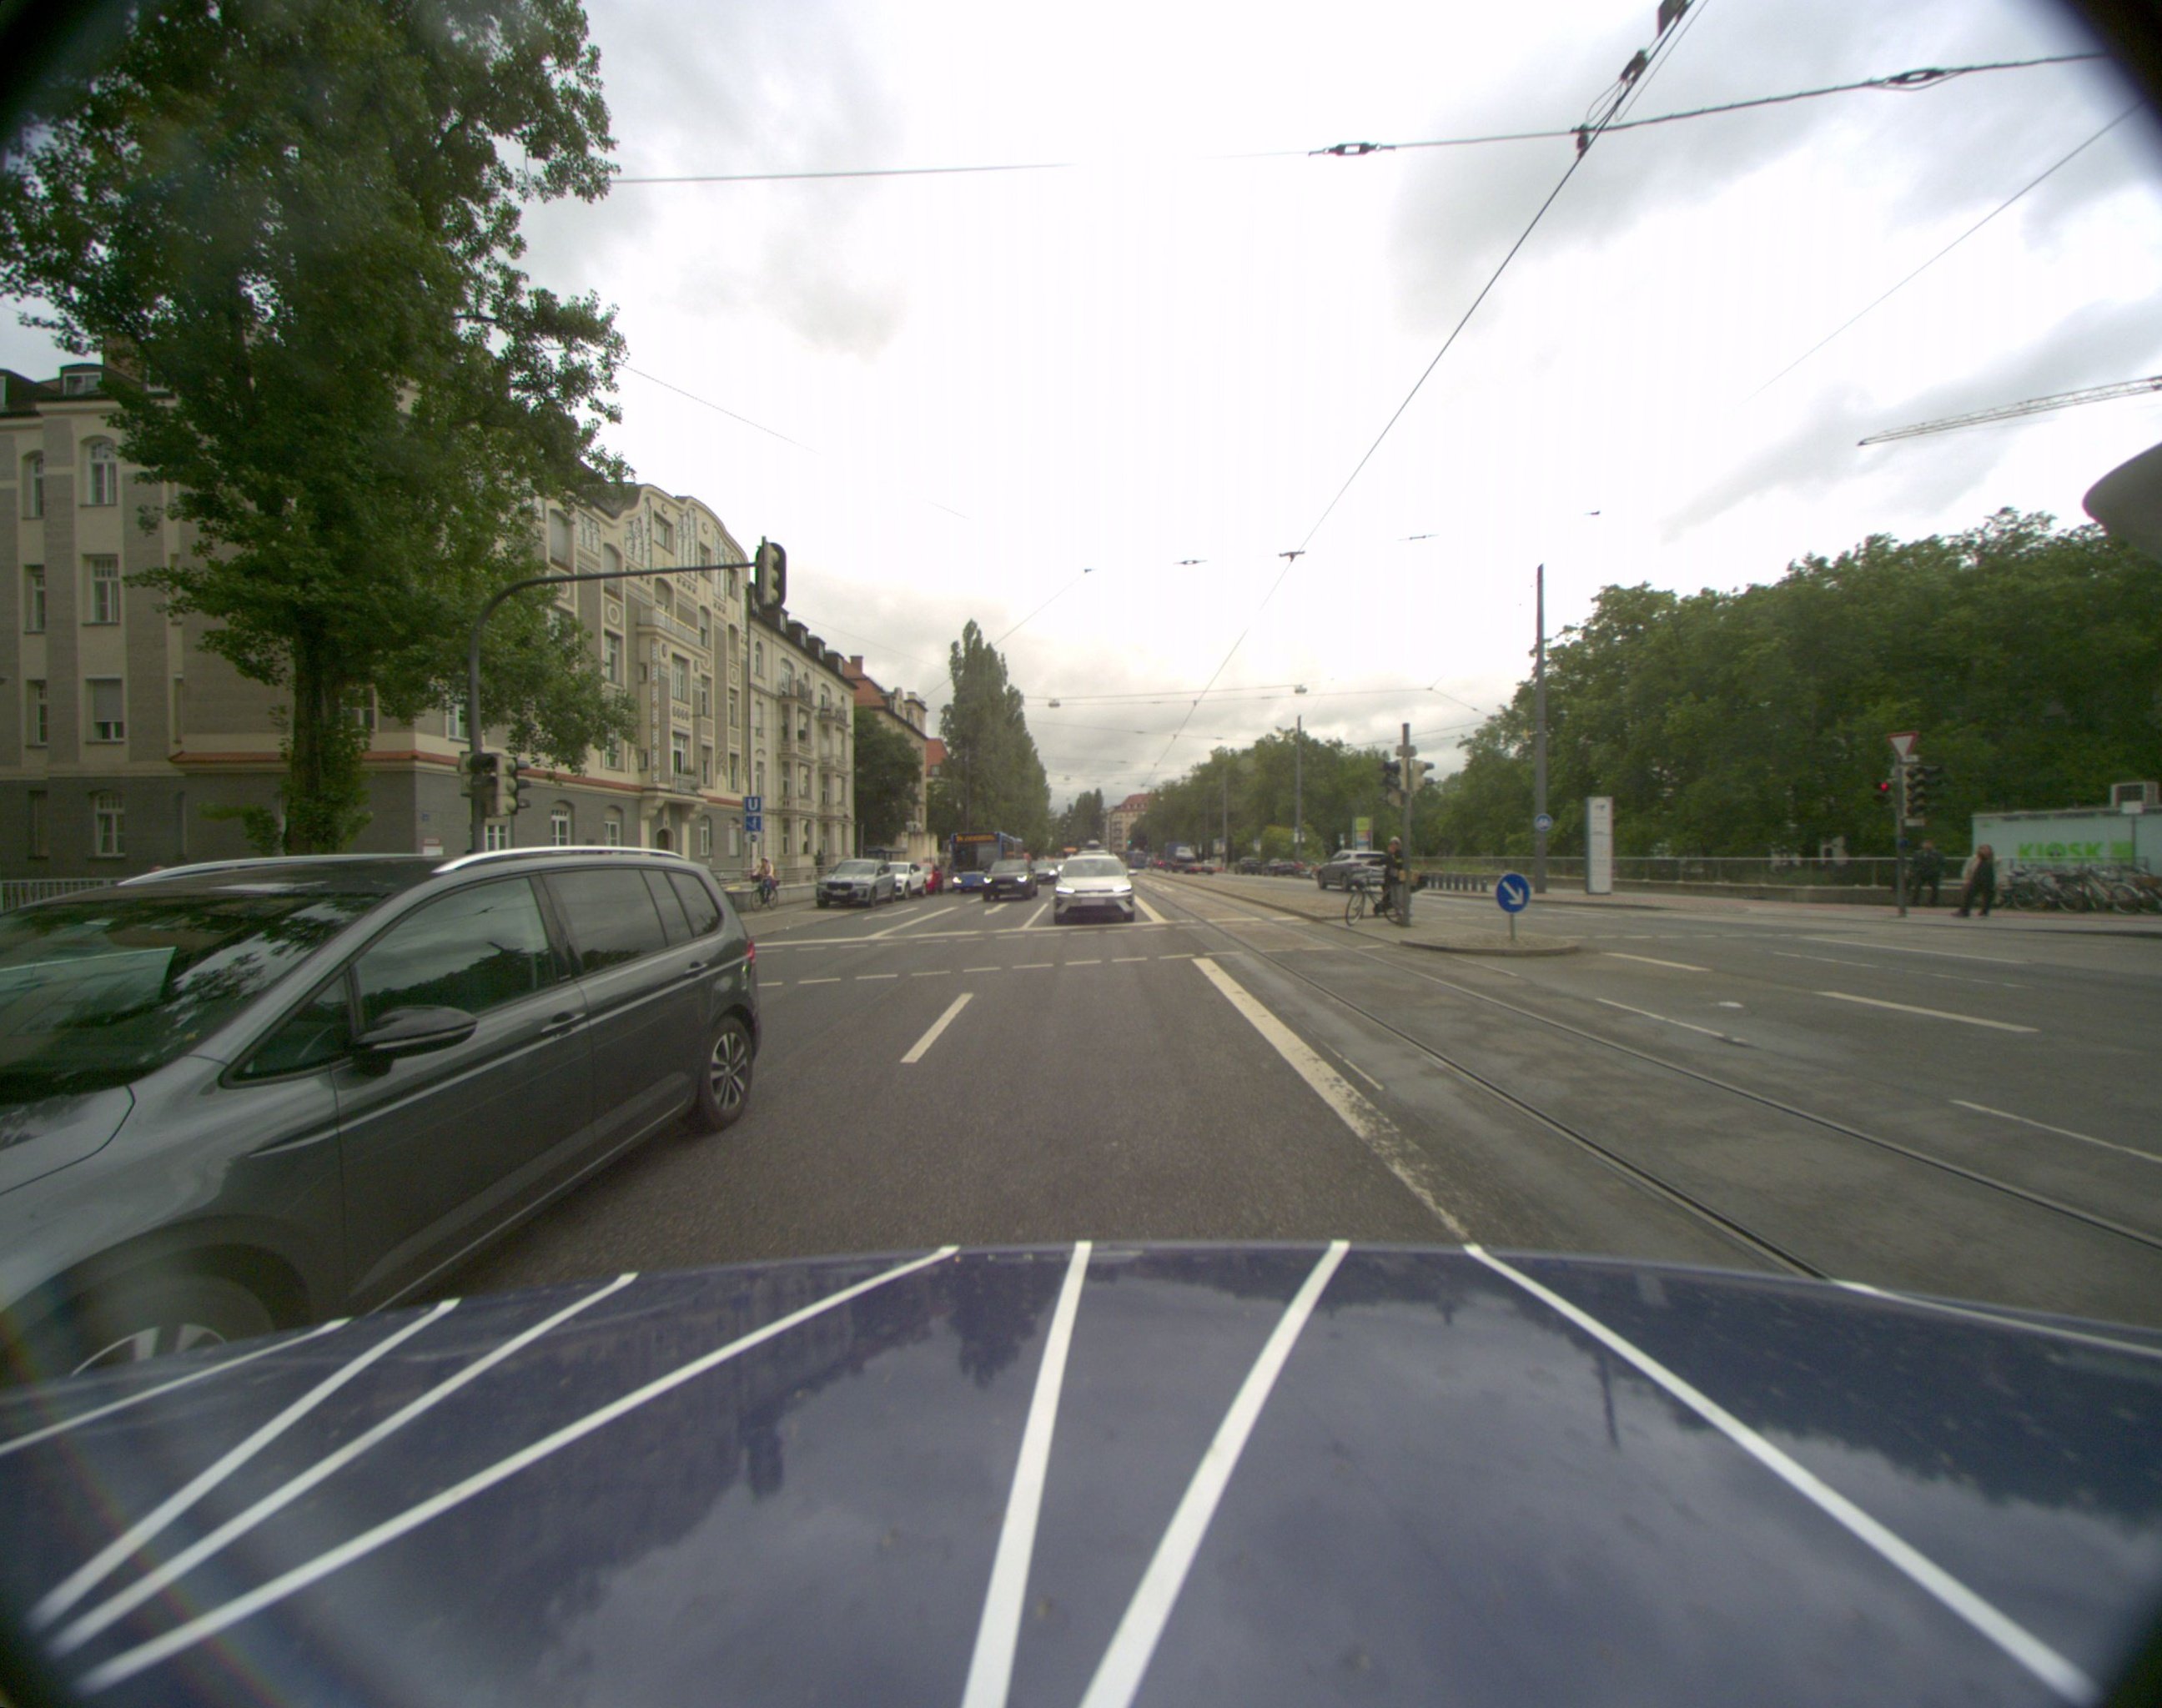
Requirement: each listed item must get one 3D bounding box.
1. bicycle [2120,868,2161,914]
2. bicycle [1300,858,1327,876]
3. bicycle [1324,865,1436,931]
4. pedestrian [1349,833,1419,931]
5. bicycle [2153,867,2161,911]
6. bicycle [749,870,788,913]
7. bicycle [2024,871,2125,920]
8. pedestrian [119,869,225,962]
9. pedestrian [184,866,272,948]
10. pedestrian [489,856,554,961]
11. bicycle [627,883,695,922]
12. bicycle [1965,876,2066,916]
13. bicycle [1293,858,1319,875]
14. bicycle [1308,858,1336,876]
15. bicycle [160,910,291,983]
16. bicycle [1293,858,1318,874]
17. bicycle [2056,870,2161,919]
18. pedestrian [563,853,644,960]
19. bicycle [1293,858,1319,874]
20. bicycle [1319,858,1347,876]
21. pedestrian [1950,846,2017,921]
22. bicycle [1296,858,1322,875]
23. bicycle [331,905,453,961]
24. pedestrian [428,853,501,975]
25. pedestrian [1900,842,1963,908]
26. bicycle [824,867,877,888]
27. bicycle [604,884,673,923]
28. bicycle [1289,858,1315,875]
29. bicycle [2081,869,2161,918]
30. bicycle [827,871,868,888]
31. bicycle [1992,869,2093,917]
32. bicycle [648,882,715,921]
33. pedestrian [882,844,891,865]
[{"bbox_3d":[26.501,0.910,18.416,0.479,1.090,1.851,0,0,15],"label":"bicycle"},{"bbox_3d":[15.855,0.879,51.777,1.693,1.165,0.505,-1,1,-9],"label":"bicycle"},{"bbox_3d":[5.848,0.840,14.828,2.233,1.144,0.505,-2,2,-20],"label":"bicycle"},{"bbox_3d":[5.850,0.511,14.692,0.862,1.801,0.895,-2,2,-28],"label":"pedestrian"},{"bbox_3d":[27.053,0.885,18.221,0.479,1.090,1.851,0,0,15],"label":"bicycle"},{"bbox_3d":[-10.012,1.184,24.402,0.424,1.281,1.778,-1,1,2],"label":"bicycle"},{"bbox_3d":[24.570,0.996,18.838,0.479,1.090,1.851,0,0,15],"label":"bicycle"},{"bbox_3d":[-17.300,1.147,14.485,0.748,1.675,1.017,0,1,1],"label":"pedestrian"},{"bbox_3d":[-18.703,1.137,16.690,0.748,1.704,1.017,0,1,1],"label":"pedestrian"},{"bbox_3d":[-9.046,0.850,12.283,0.758,1.628,0.699,-1,0,-42],"label":"pedestrian"},{"bbox_3d":[-12.646,1.443,22.937,0.445,1.017,1.842,-1,1,28],"label":"bicycle"},{"bbox_3d":[23.398,1.033,19.078,0.479,0.889,1.850,0,0,9],"label":"bicycle"},{"bbox_3d":[15.783,0.877,53.295,1.693,1.165,0.505,-1,1,-7],"label":"bicycle"},{"bbox_3d":[16.175,0.867,50.952,1.693,1.165,0.561,-1,1,-9],"label":"bicycle"},{"bbox_3d":[-13.156,1.419,11.698,1.575,1.044,0.392,-2,1,2],"label":"bicycle"},{"bbox_3d":[16.283,0.859,55.150,1.692,1.165,0.562,-1,1,-2],"label":"bicycle"},{"bbox_3d":[25.263,0.965,18.721,0.479,1.090,1.851,0,0,15],"label":"bicycle"},{"bbox_3d":[-8.310,0.897,13.241,0.881,1.791,0.757,-1,0,11],"label":"pedestrian"},{"bbox_3d":[16.181,0.854,54.603,1.693,1.165,0.505,-1,1,-3],"label":"bicycle"},{"bbox_3d":[16.517,0.856,49.783,1.693,1.165,0.561,-1,1,-9],"label":"bicycle"},{"bbox_3d":[19.863,0.628,16.729,0.739,1.619,0.741,-1,1,-20],"label":"pedestrian"},{"bbox_3d":[15.808,0.878,52.710,1.693,1.165,0.561,-1,1,-9],"label":"bicycle"},{"bbox_3d":[-12.299,1.409,13.575,1.837,0.911,0.392,-2,1,2],"label":"bicycle"},{"bbox_3d":[-9.372,0.885,11.552,0.699,1.770,0.652,-1,0,34],"label":"pedestrian"},{"bbox_3d":[22.418,0.540,20.054,0.735,1.706,0.861,0,1,11],"label":"pedestrian"},{"bbox_3d":[-13.659,1.380,45.036,2.922,1.141,0.639,-2,1,-17],"label":"bicycle"},{"bbox_3d":[-13.321,1.474,22.937,0.391,1.017,1.842,-1,1,28],"label":"bicycle"},{"bbox_3d":[15.712,0.878,53.993,1.693,1.165,0.505,-1,1,-6],"label":"bicycle"},{"bbox_3d":[25.781,0.942,18.624,0.479,1.090,1.851,0,0,15],"label":"bicycle"},{"bbox_3d":[-14.012,1.506,45.628,2.326,0.916,0.586,-2,1,-16],"label":"bicycle"},{"bbox_3d":[23.939,0.938,18.959,0.479,1.090,1.851,0,0,12],"label":"bicycle"},{"bbox_3d":[-12.014,1.414,22.928,0.445,1.017,1.842,-1,1,28],"label":"bicycle"},{"bbox_3d":[-17.986,0.067,70.294,0.609,1.885,0.673,0,1,3],"label":"pedestrian"}]
